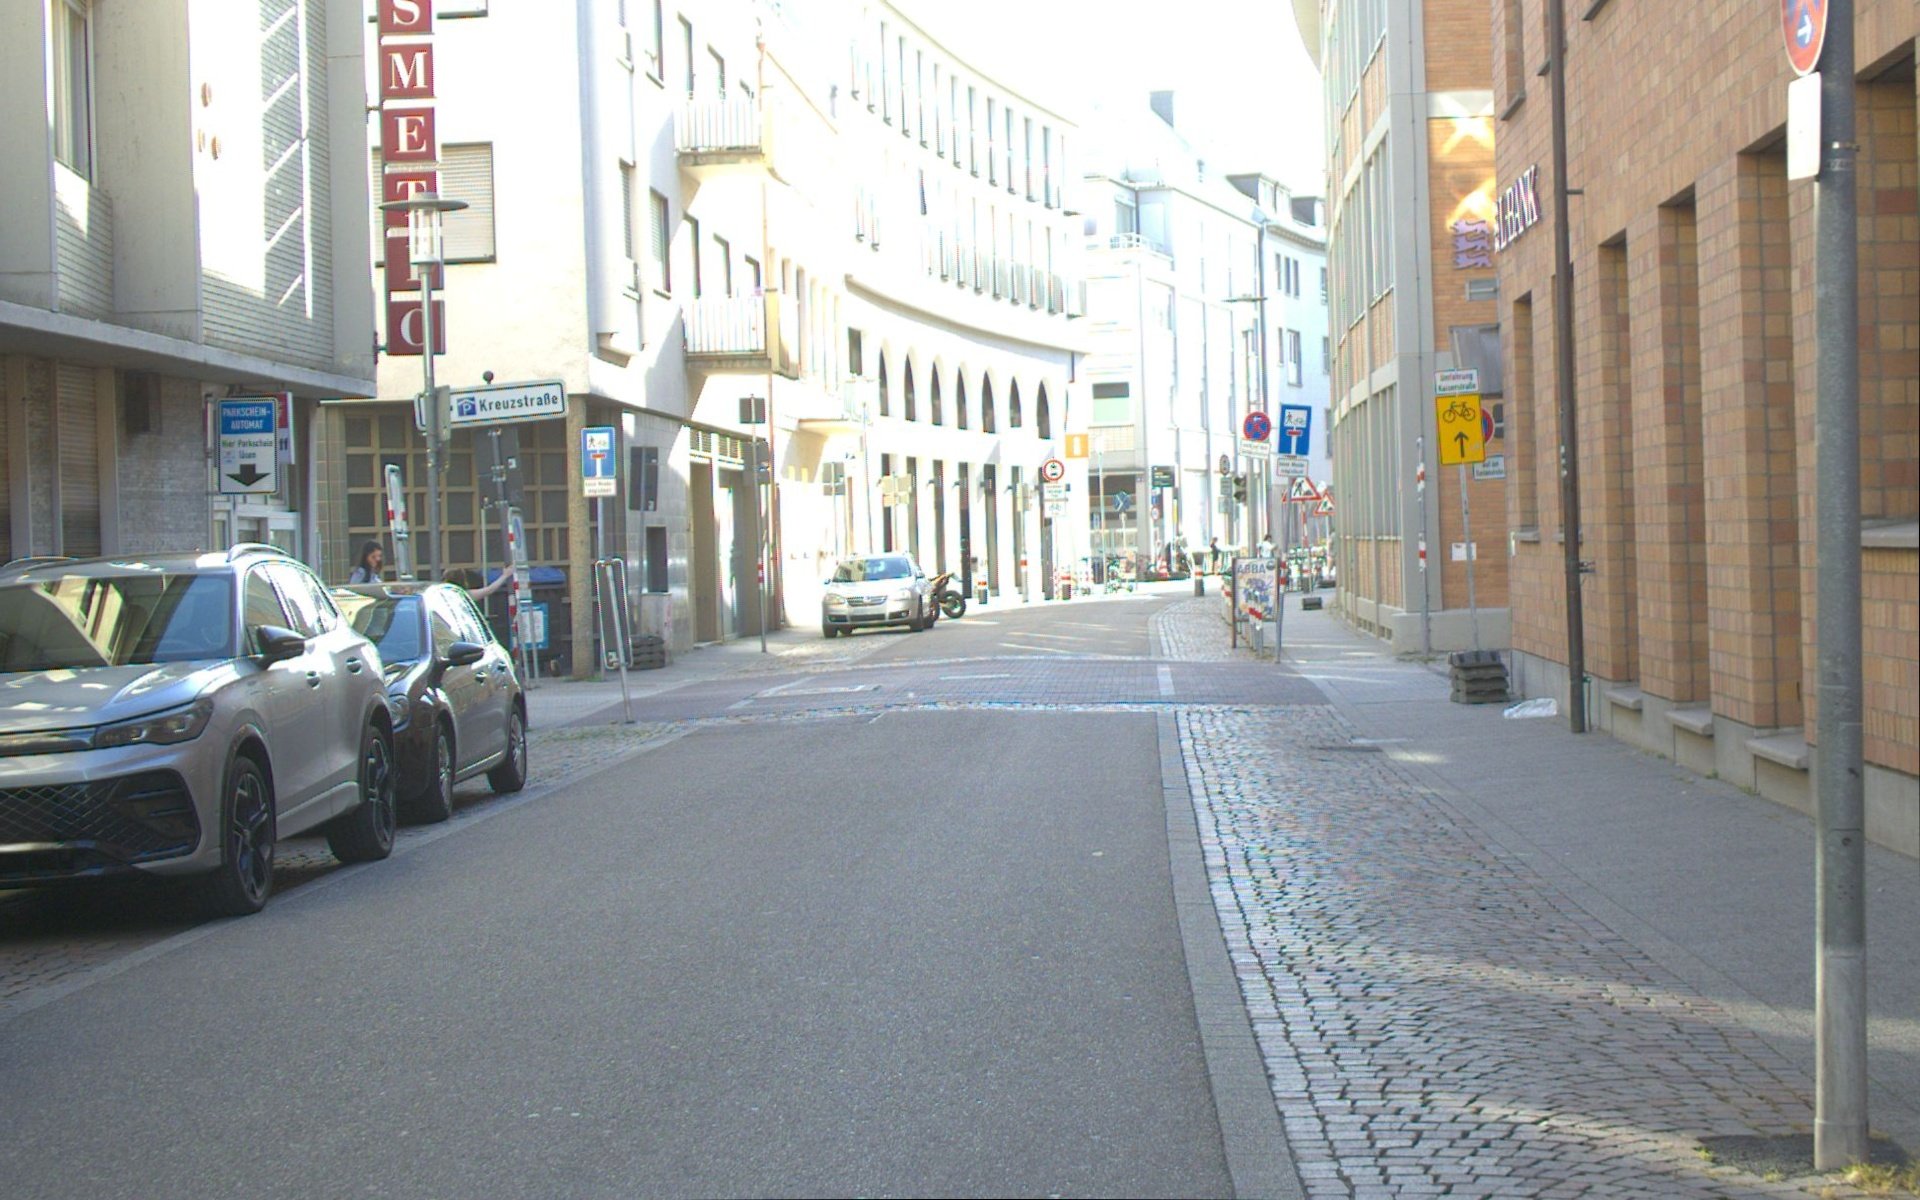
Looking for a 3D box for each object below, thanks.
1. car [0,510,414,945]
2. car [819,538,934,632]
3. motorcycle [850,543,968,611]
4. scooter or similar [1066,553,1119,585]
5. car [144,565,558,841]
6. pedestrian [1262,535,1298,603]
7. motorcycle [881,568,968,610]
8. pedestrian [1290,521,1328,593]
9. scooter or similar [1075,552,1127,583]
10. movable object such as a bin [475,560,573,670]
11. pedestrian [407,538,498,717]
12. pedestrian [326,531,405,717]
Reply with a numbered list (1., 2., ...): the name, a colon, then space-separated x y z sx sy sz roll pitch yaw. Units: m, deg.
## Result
1. car: -3.968 0.489 16.177 1.890 1.736 4.390 -2 1 2
2. car: -1.469 -0.297 61.811 1.737 1.600 3.532 -1 1 4
3. motorcycle: -1.086 -0.499 73.114 2.391 1.312 0.862 -3 1 3
4. scooter or similar: 4.024 -0.955 104.209 0.526 0.925 2.223 0 1 33
5. car: -3.789 0.583 22.042 1.648 1.455 3.999 -4 1 3
6. pedestrian: 8.818 -0.851 94.773 0.659 1.862 0.786 0 0 -27
7. motorcycle: -0.719 -0.221 69.320 1.691 0.856 0.594 0 0 8
8. pedestrian: 9.066 -1.107 89.273 0.659 1.862 0.761 0 0 -27
9. scooter or similar: 4.409 -1.006 107.299 0.526 0.925 2.223 0 1 33
10. movable object such as a bin: -5.690 0.190 44.886 0.931 1.415 0.884 0 0 -44
11. pedestrian: -4.687 0.250 31.746 0.645 1.620 0.457 -2 1 -38
12. pedestrian: -5.611 0.226 32.443 0.448 1.732 0.552 -1 1 26
